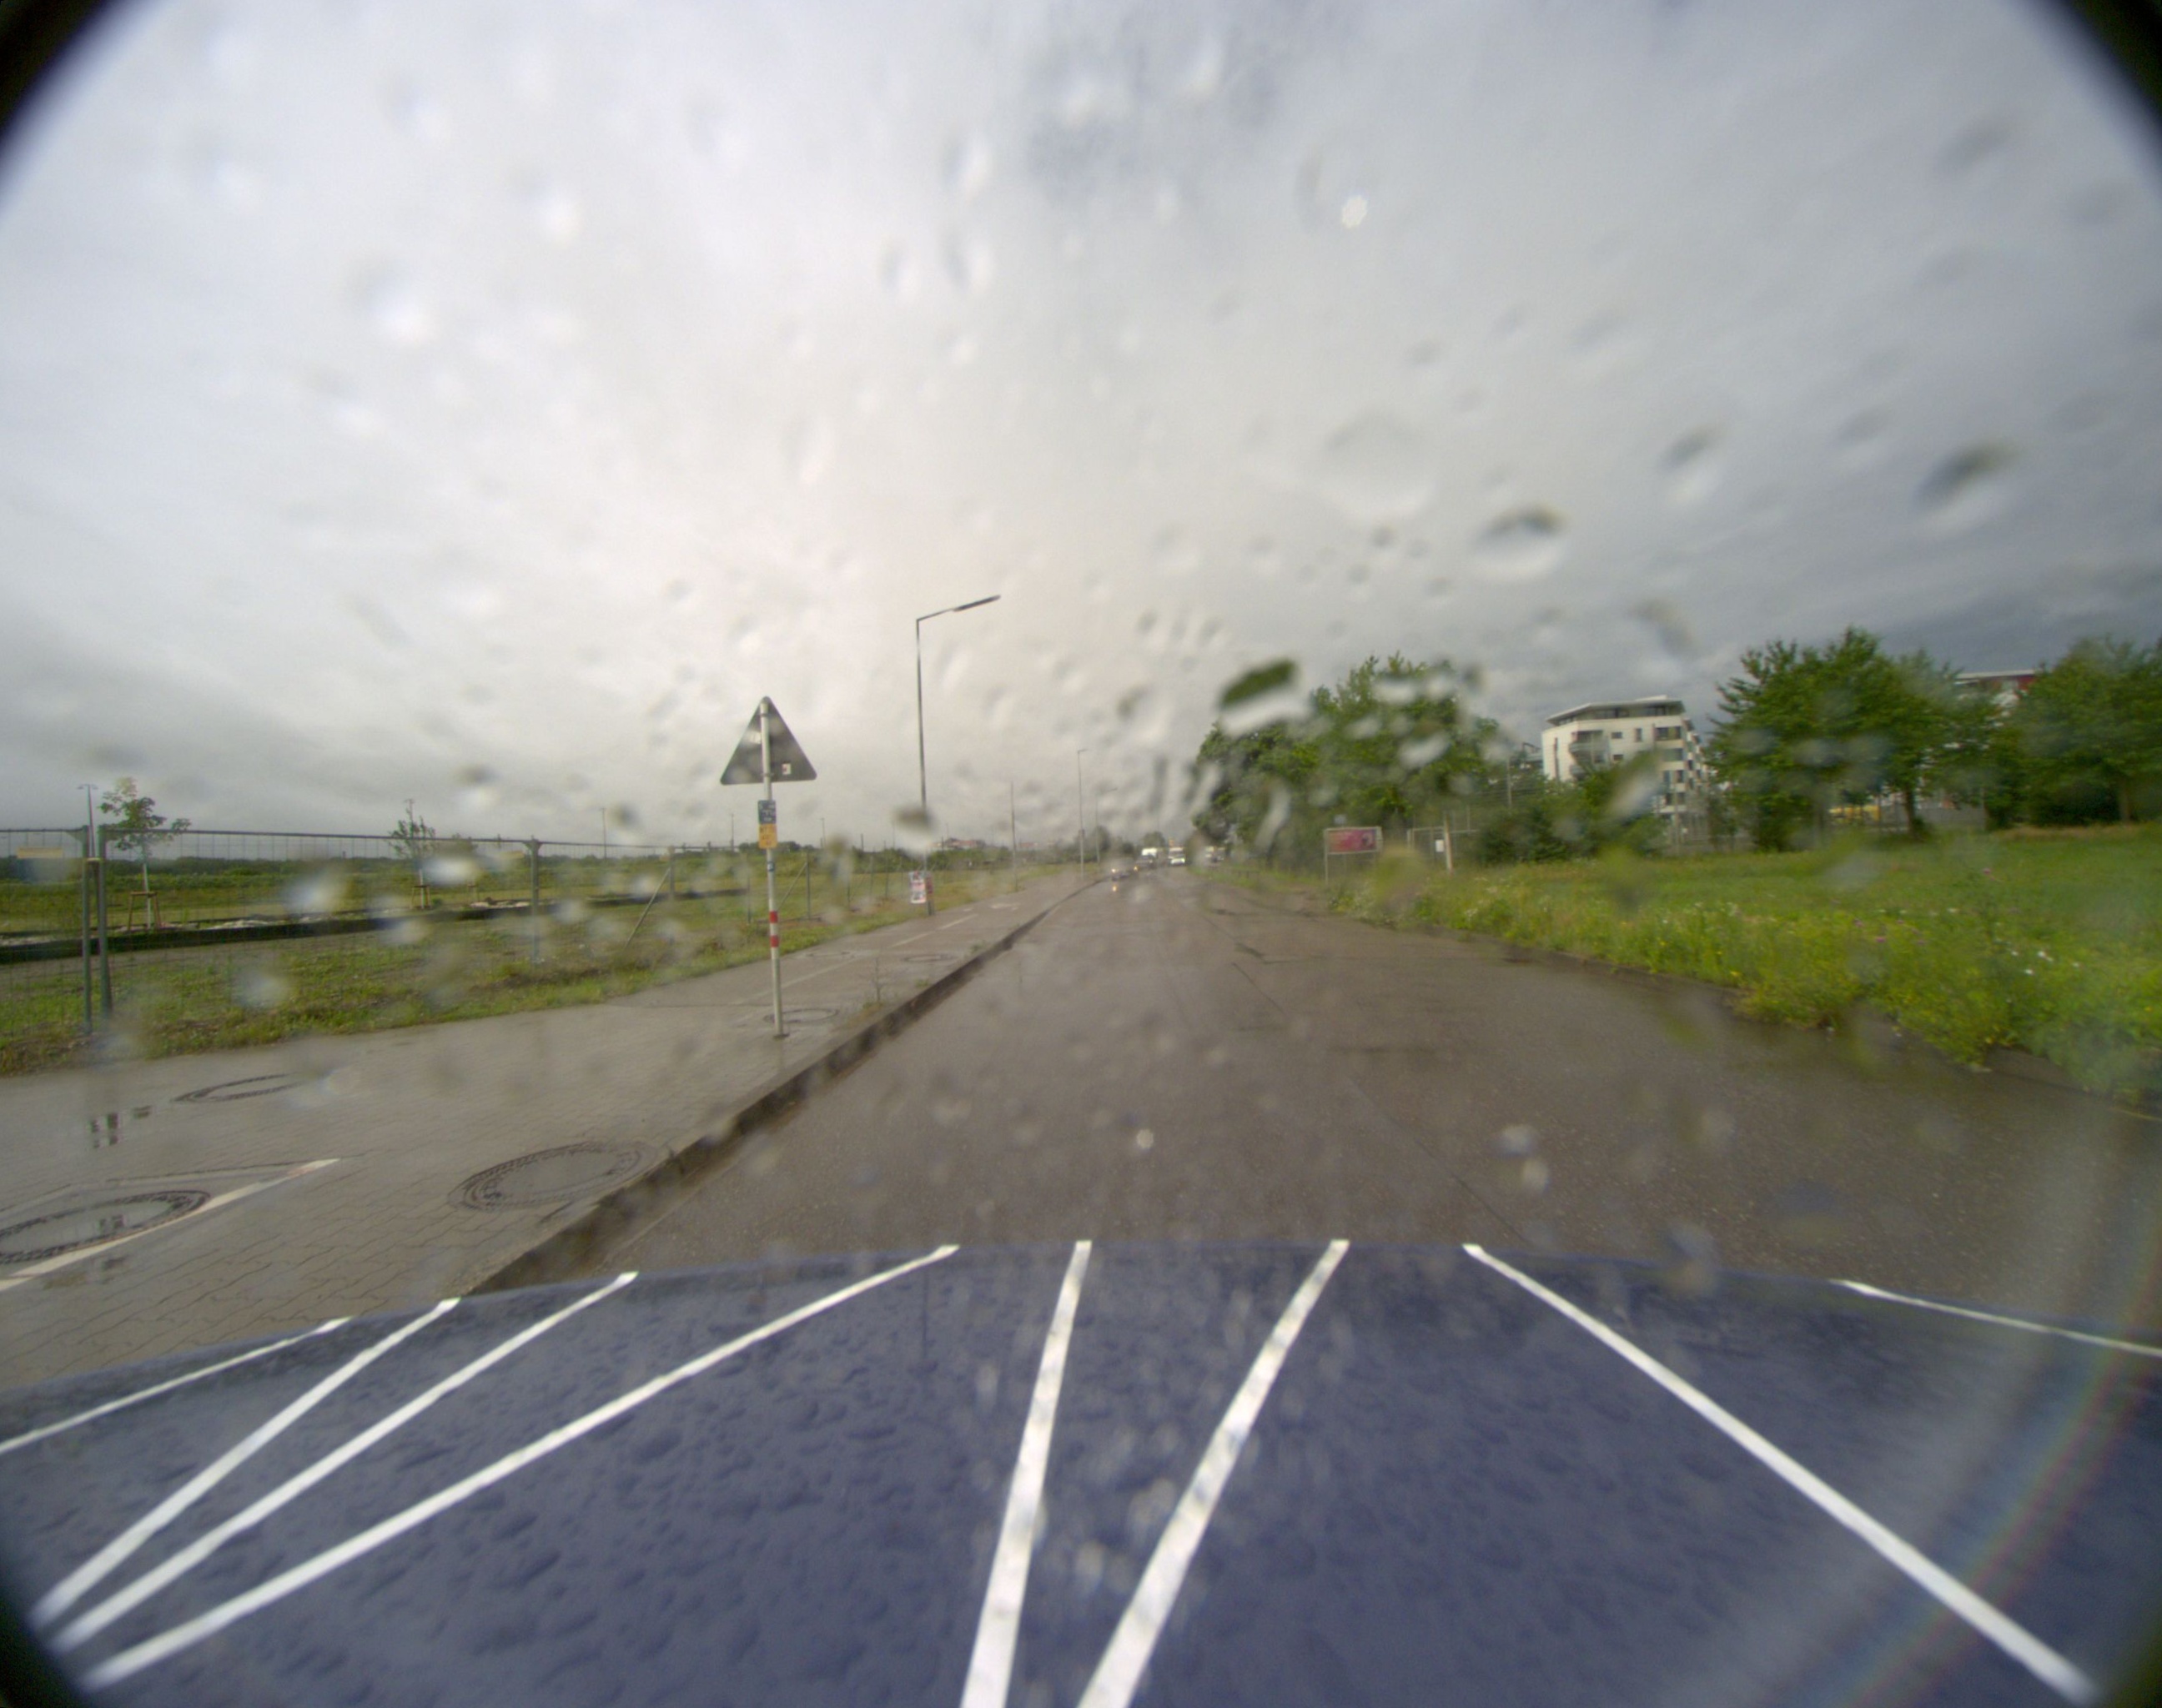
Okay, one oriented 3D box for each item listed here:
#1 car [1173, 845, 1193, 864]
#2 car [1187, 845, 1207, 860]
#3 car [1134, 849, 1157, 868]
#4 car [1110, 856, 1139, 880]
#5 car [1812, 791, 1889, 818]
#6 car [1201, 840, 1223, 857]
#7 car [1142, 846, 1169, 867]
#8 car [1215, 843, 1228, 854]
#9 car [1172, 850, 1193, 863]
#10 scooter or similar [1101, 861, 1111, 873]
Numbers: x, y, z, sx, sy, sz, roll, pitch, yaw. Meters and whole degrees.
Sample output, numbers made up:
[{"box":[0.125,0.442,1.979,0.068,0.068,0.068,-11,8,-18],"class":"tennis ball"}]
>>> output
[{"box":[15.290,0.042,113.779,2.147,2.867,5.282,0,1,17],"class":"car"},{"box":[19.797,-0.229,129.410,2.070,2.514,6.667,-1,0,20],"class":"car"},{"box":[6.623,0.464,77.347,2.009,1.695,4.331,-6,0,7],"class":"car"},{"box":[2.959,0.906,51.105,1.873,1.510,4.359,-1,-1,4],"class":"car"},{"box":[91.660,-5.872,90.550,6.633,2.599,1.967,-5,1,6],"class":"car"},{"box":[24.156,-1.006,139.825,2.473,2.938,6.896,-2,0,22],"class":"car"},{"box":[9.672,0.268,98.462,2.094,2.458,5.955,-2,1,19],"class":"car"},{"box":[29.100,-1.195,157.191,1.996,2.228,4.569,-3,0,19],"class":"car"},{"box":[13.353,0.344,99.874,1.839,1.510,4.362,-3,0,18],"class":"car"},{"box":[2.695,1.429,81.329,0.491,1.208,1.342,-3,0,28],"class":"scooter or similar"}]
